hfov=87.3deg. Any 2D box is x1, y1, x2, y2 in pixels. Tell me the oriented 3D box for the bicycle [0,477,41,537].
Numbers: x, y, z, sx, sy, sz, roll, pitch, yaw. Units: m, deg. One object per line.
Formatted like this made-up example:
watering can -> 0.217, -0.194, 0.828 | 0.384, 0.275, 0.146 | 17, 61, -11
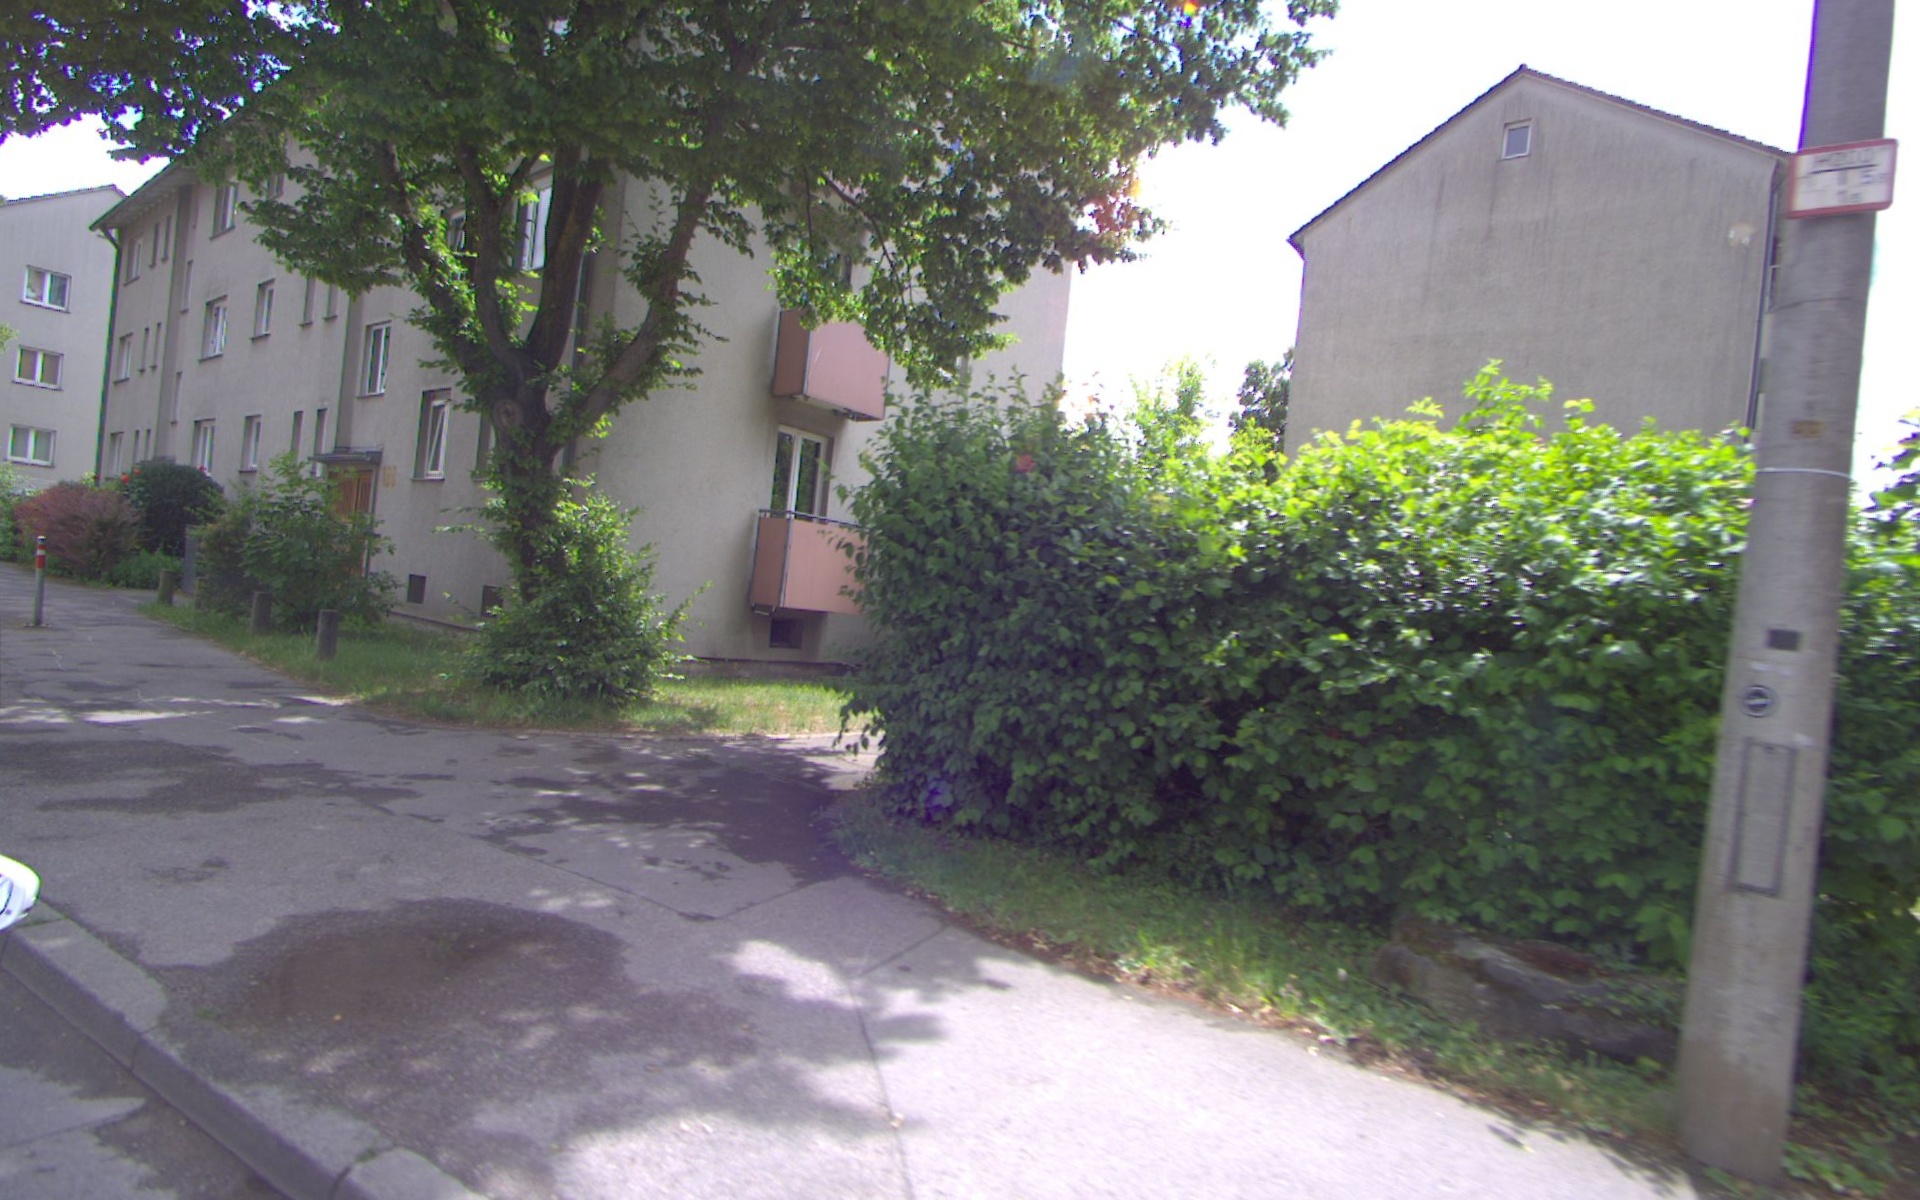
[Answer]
bicycle -> -27.928, -2.760, 29.362 | 1.055, 1.593, 1.347 | 7, 0, 36
